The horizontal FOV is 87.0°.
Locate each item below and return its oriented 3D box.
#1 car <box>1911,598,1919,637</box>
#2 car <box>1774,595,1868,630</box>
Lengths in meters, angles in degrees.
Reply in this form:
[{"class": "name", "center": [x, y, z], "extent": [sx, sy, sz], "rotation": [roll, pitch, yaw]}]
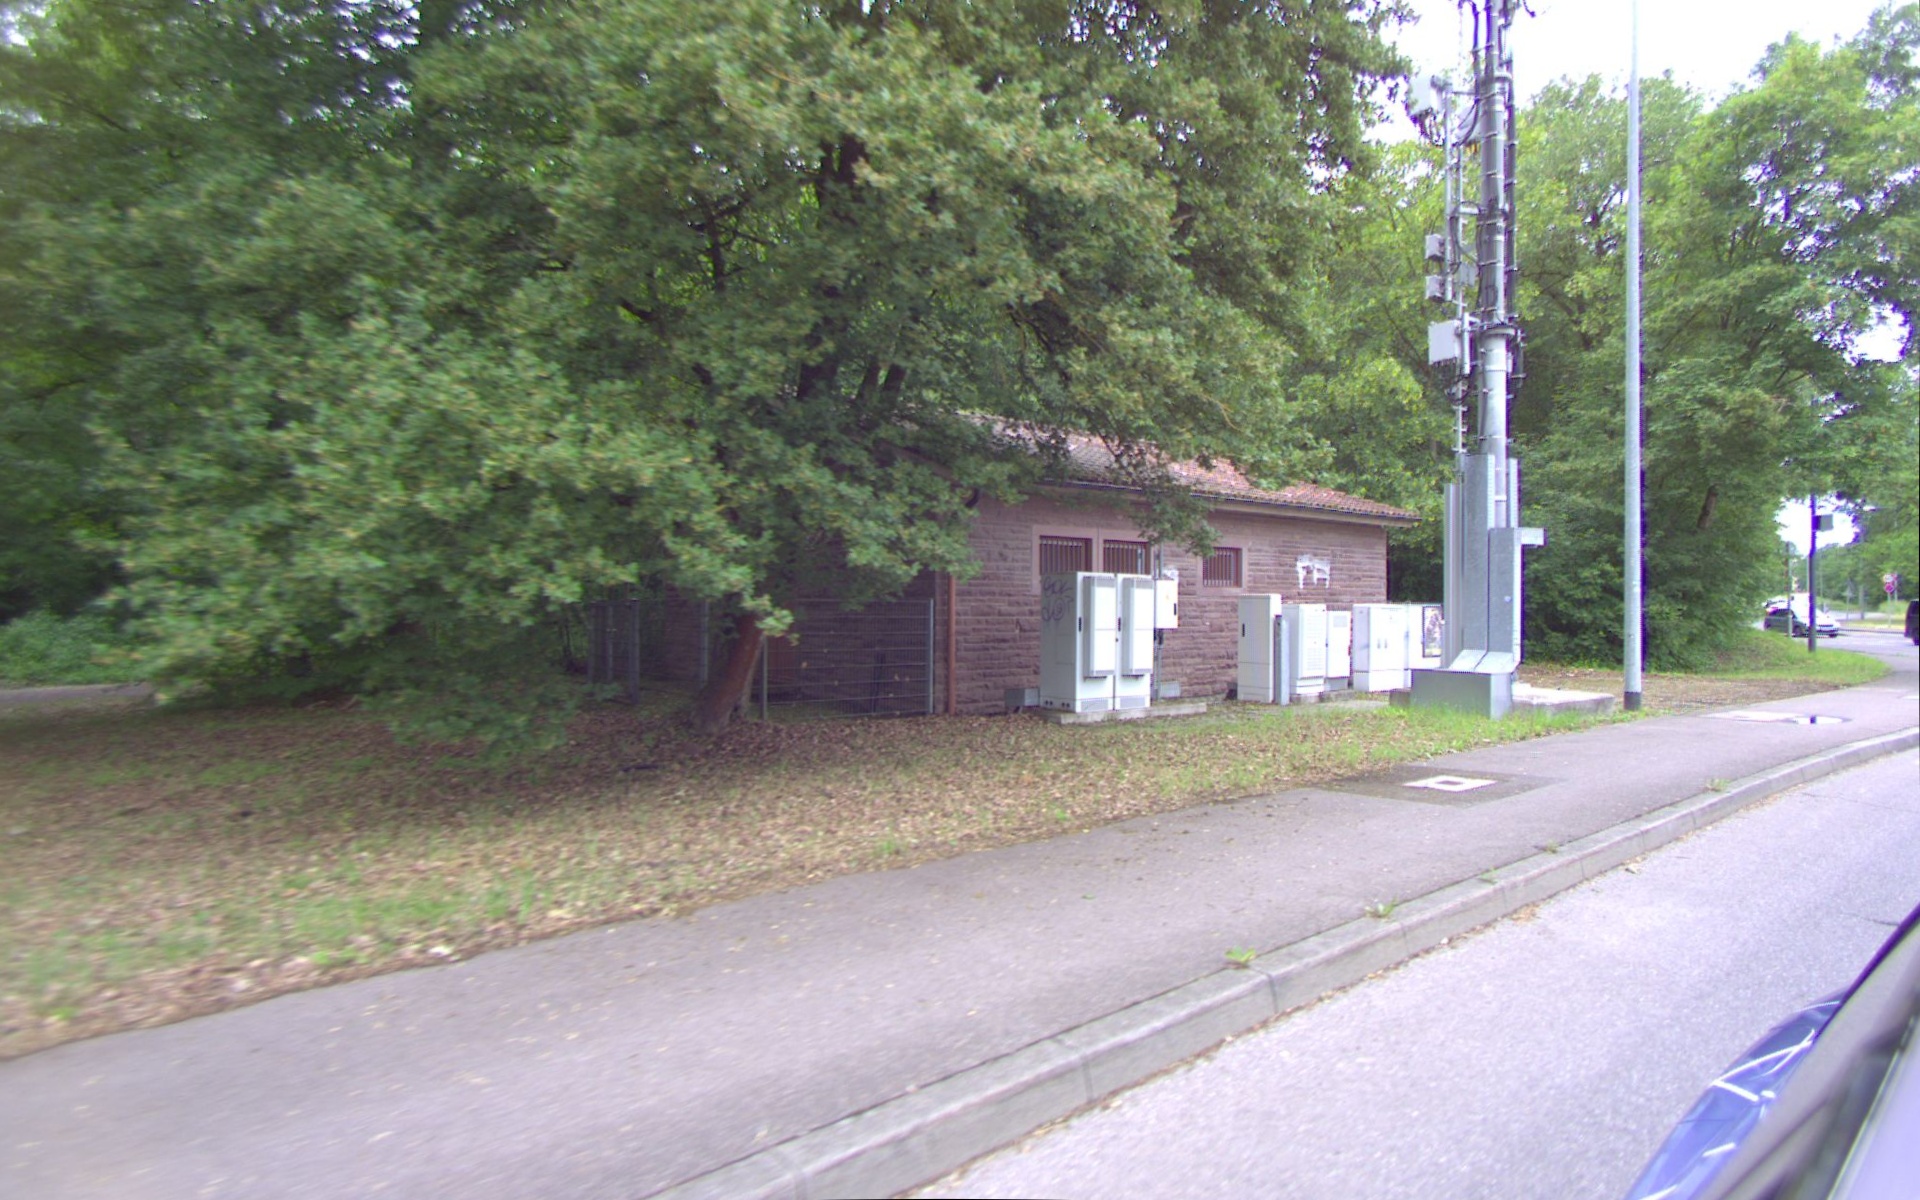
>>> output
[{"class": "car", "center": [40.664, 0.711, 39.948], "extent": [1.924, 1.608, 4.901], "rotation": [-1, 0, 6]}, {"class": "car", "center": [42.707, 0.592, 50.313], "extent": [1.869, 1.661, 3.967], "rotation": [-1, 0, 13]}]
